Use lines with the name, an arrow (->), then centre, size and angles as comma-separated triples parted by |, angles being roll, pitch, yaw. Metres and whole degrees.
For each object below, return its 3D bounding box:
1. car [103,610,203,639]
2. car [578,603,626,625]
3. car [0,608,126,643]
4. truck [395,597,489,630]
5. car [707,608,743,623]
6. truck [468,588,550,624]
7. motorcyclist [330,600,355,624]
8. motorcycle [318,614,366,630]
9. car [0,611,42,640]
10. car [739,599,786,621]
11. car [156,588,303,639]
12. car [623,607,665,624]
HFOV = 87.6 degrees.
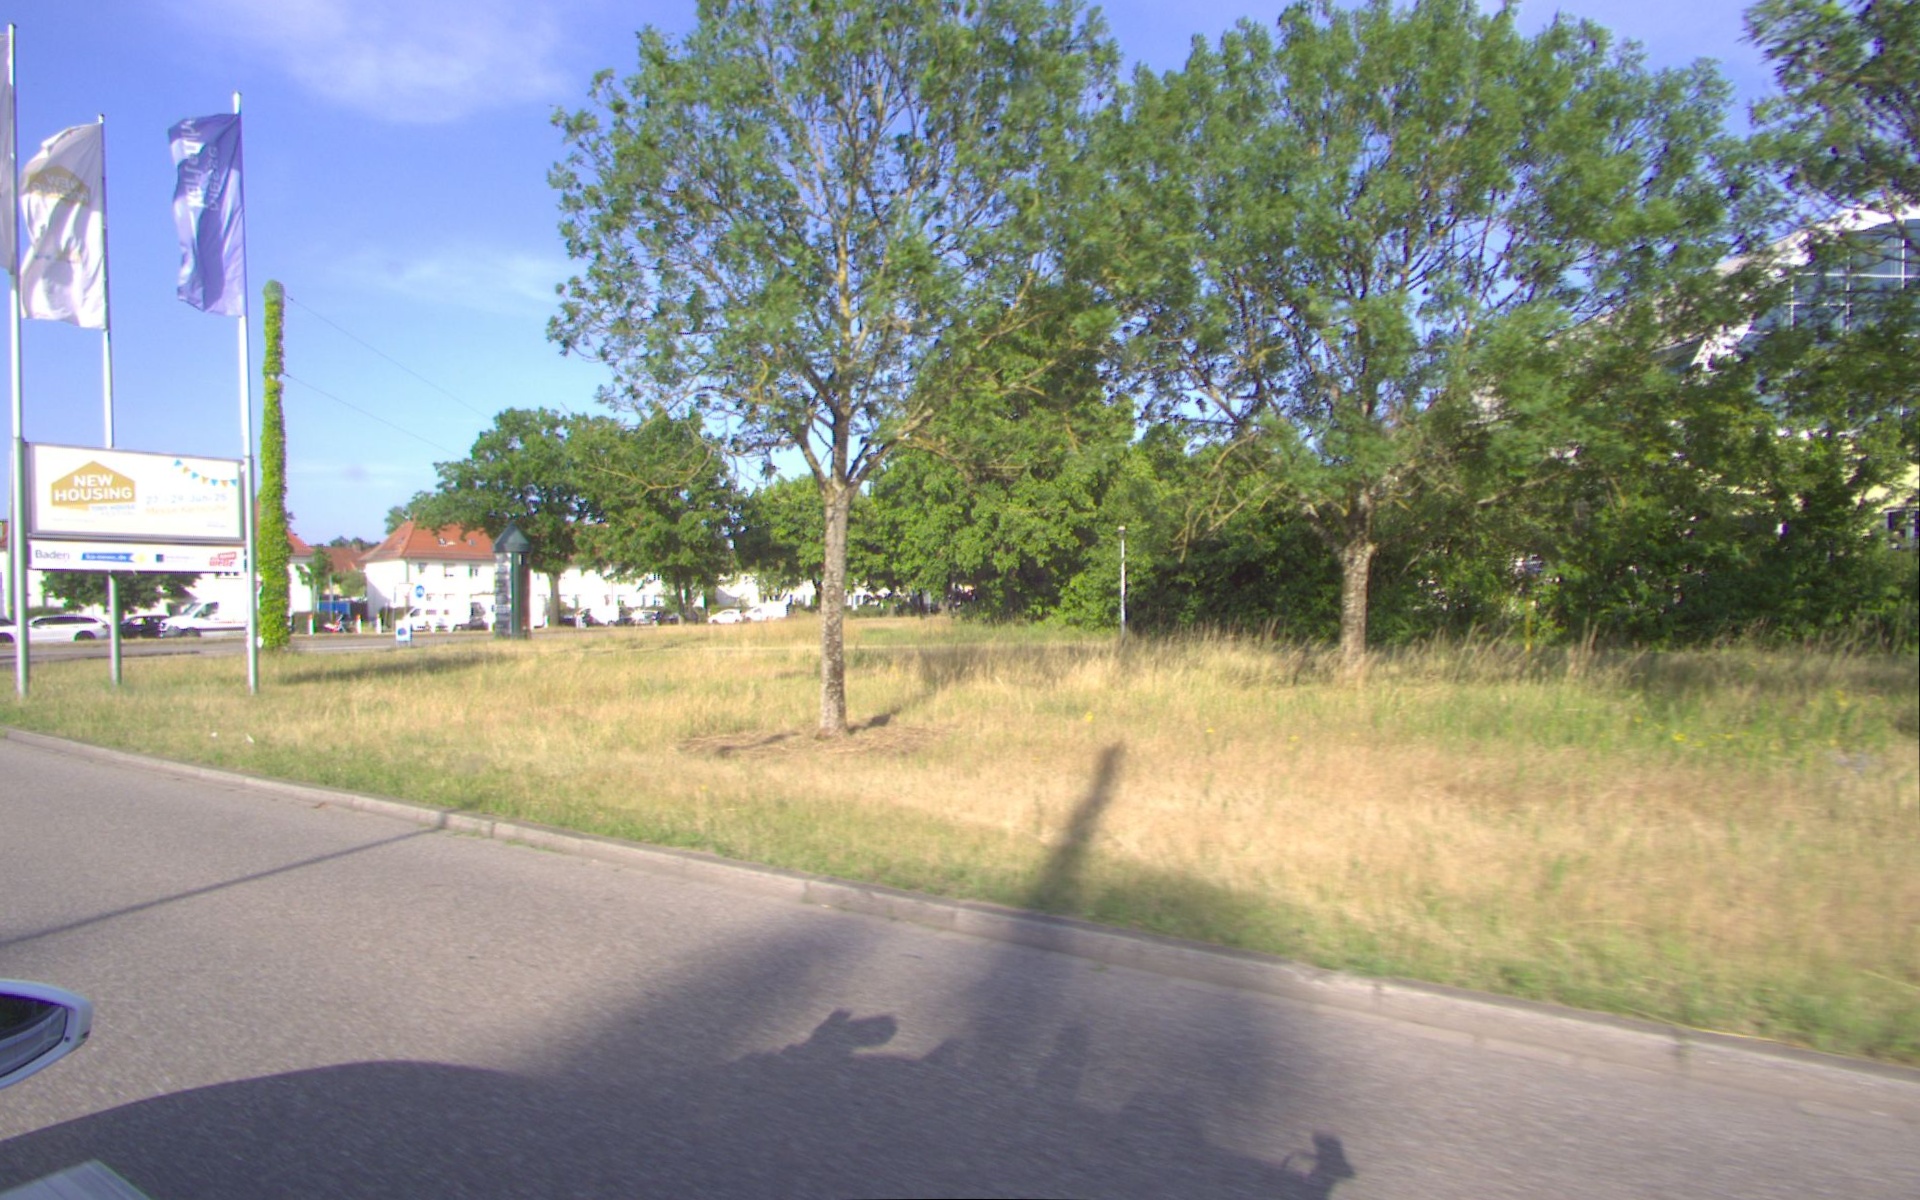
car -> -43.837, 1.317, 54.449 | 1.694, 1.472, 3.973 | 0, 0, 37
car -> -32.846, 1.297, 92.031 | 3.835, 1.945, 1.895 | -1, 0, -10
car -> -43.894, 1.205, 48.507 | 1.816, 1.583, 5.077 | 0, 0, 37
truck -> -40.673, 1.060, 78.668 | 6.233, 2.557, 2.277 | 0, 0, 1
car -> -24.121, 1.611, 102.951 | 3.367, 1.534, 1.895 | -1, 0, -6
truck -> -37.743, 0.495, 83.986 | 5.964, 2.892, 1.895 | -1, 0, -10
motorcyclist -> -35.896, 0.716, 58.174 | 0.671, 1.370, 1.062 | 0, 0, 35
motorcycle -> -35.895, 1.272, 58.185 | 0.681, 0.878, 2.264 | 0, 0, 35
car -> -48.112, 1.265, 48.739 | 1.694, 1.430, 4.807 | 0, 0, 37
car -> -21.289, 1.044, 107.969 | 4.885, 2.261, 1.999 | -1, 0, -10
car -> -39.597, 0.694, 54.457 | 1.974, 2.617, 6.187 | 0, 0, 36
car -> -29.844, 1.479, 94.711 | 3.432, 1.534, 1.895 | -1, 0, -6
